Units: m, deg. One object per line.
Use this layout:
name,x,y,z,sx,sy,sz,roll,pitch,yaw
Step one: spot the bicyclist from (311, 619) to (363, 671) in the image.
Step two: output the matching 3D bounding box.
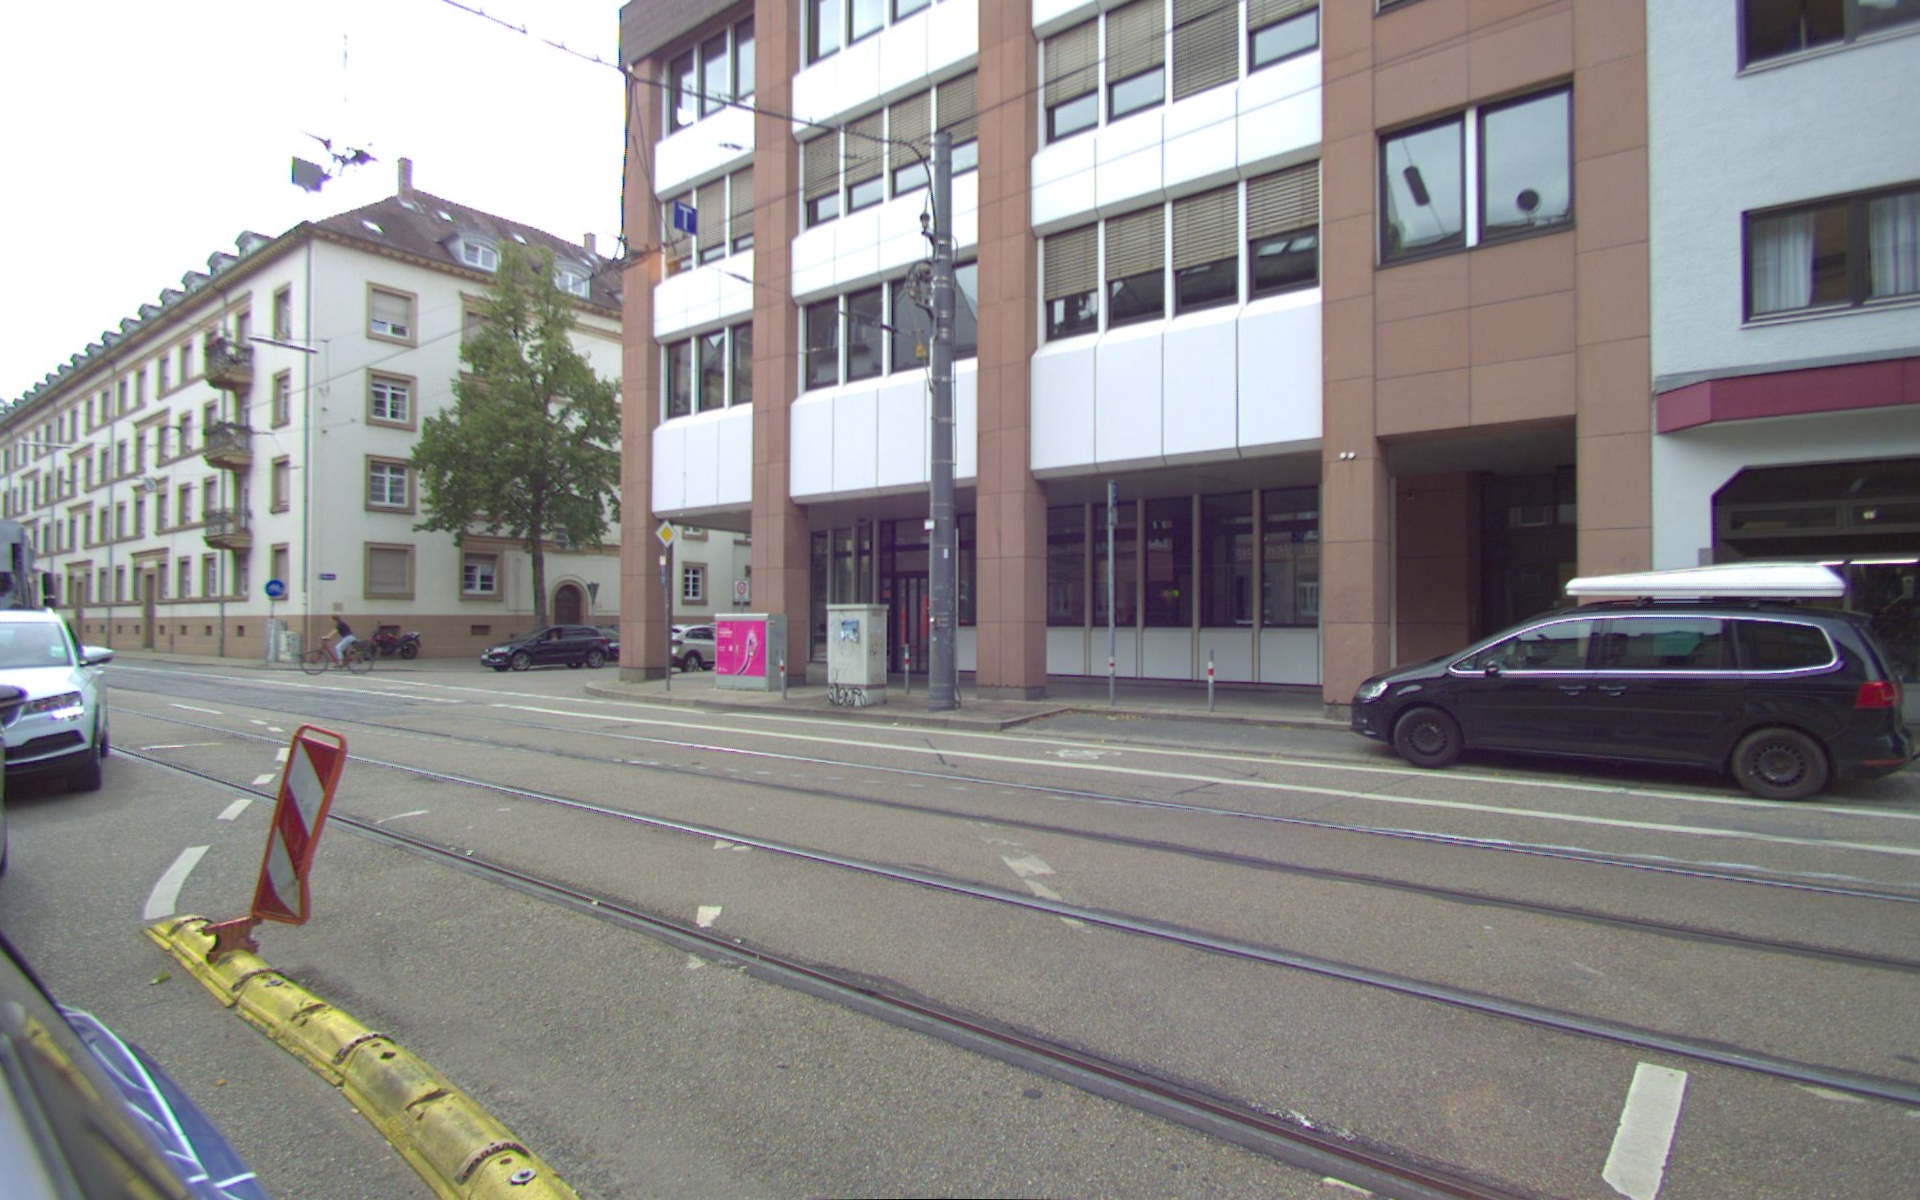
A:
bicyclist,-17.916,1.278,29.118,1.238,1.473,0.679,1,-3,-33

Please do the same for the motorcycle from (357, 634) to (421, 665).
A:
motorcycle,-20.897,1.794,37.074,0.792,1.094,1.900,-2,-2,39

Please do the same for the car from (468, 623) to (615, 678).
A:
car,-13.381,1.566,32.486,3.986,1.549,1.777,-1,-1,-41

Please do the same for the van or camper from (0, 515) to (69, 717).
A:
van or camper,-20.353,0.362,19.983,9.642,3.447,2.575,-2,-2,39

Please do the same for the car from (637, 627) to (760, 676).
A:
car,-7.952,1.538,31.034,1.606,1.399,3.611,-1,-2,31

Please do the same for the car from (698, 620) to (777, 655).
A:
car,-9.854,1.647,44.773,3.520,1.473,1.572,-1,-2,38

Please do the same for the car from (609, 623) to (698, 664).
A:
car,-12.260,1.704,40.424,3.711,1.559,1.591,-1,-2,38

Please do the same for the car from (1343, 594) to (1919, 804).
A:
car,6.556,0.836,10.224,4.694,1.659,1.789,-2,0,40

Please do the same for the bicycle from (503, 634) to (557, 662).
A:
bicycle,-17.567,1.942,41.382,0.792,1.094,1.900,-2,-2,39

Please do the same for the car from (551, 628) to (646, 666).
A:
car,-13.810,1.767,38.627,3.869,1.407,1.591,-1,-2,38

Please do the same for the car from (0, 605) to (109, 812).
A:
car,-9.119,0.892,9.270,1.748,1.603,4.285,-1,-1,-44

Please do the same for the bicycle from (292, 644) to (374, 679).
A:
bicycle,-17.976,1.752,29.052,1.978,0.972,0.675,1,-3,-32
